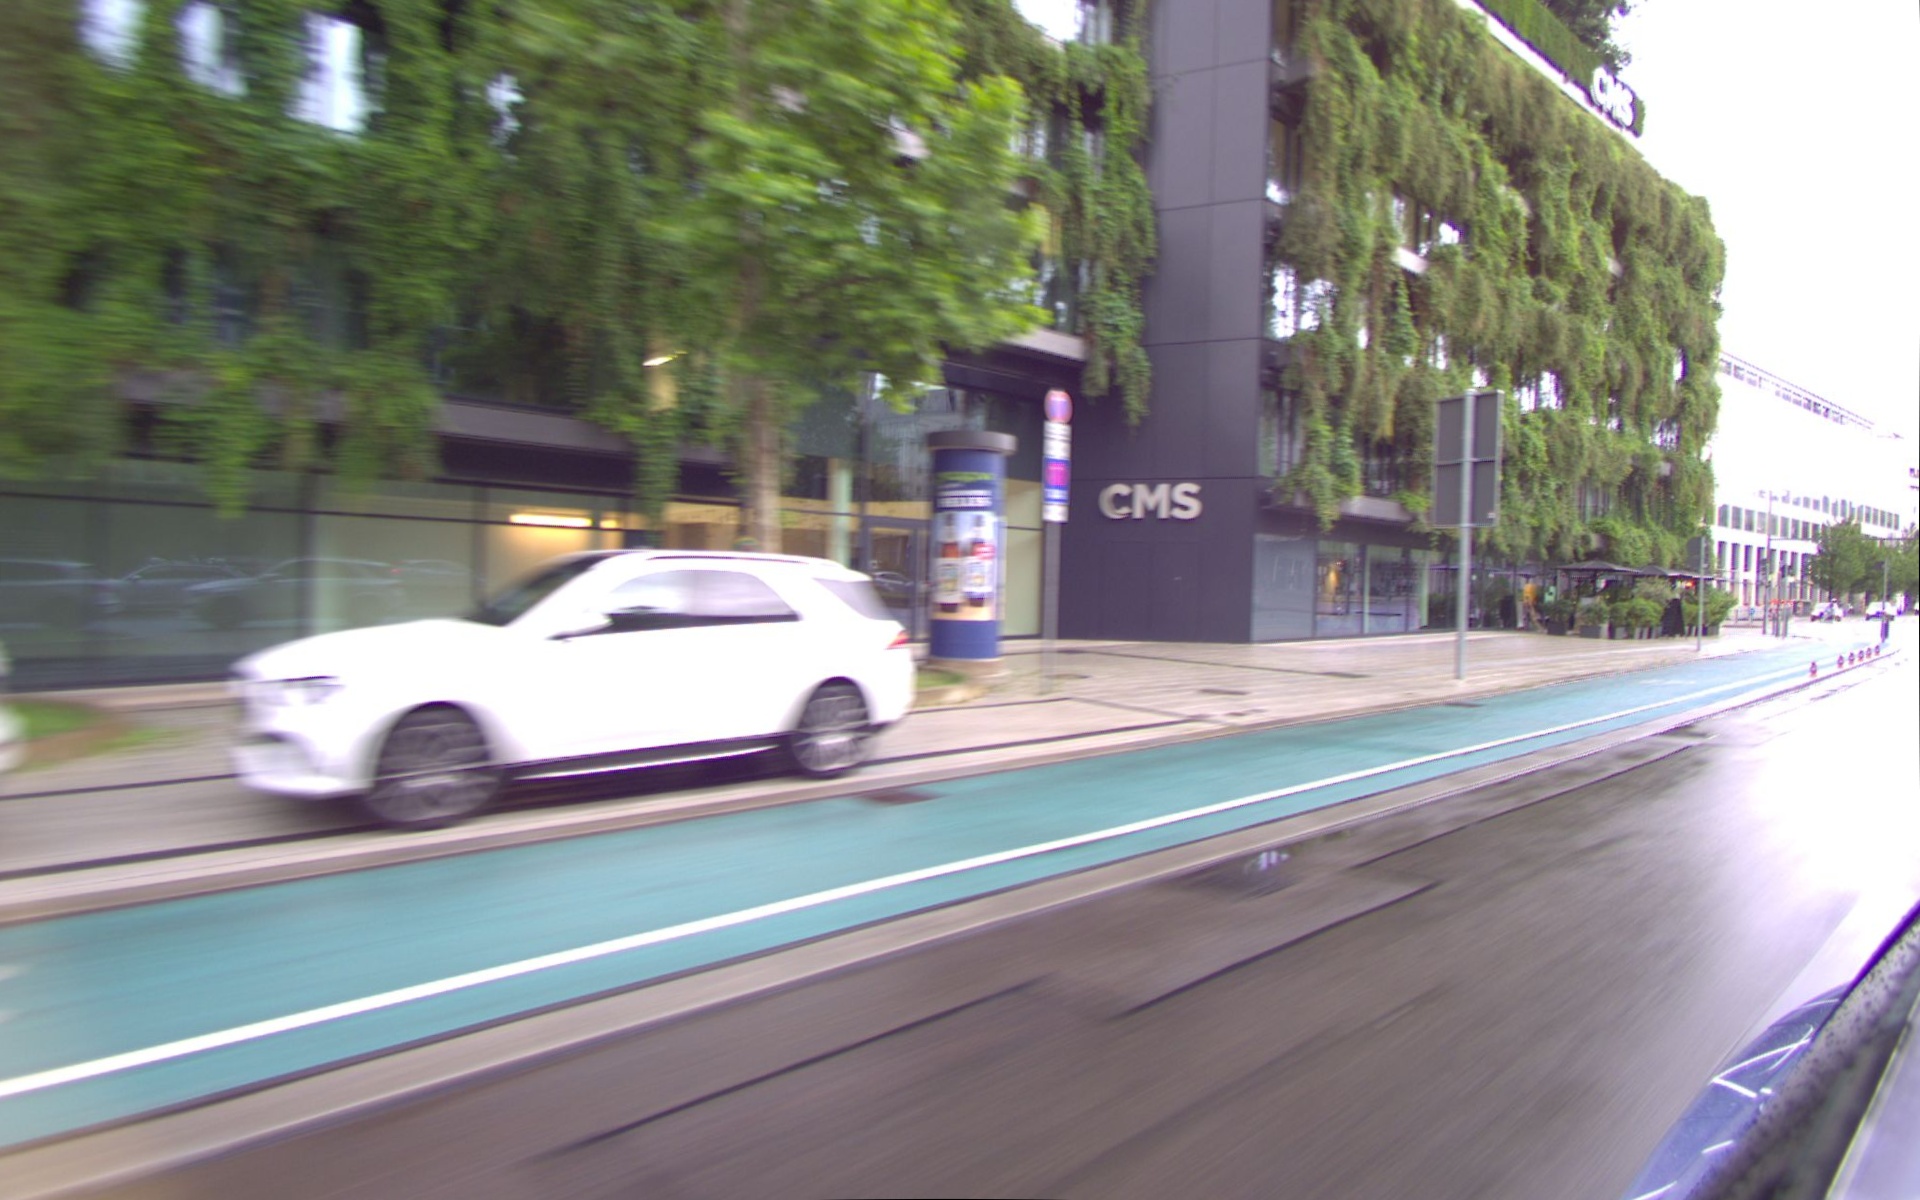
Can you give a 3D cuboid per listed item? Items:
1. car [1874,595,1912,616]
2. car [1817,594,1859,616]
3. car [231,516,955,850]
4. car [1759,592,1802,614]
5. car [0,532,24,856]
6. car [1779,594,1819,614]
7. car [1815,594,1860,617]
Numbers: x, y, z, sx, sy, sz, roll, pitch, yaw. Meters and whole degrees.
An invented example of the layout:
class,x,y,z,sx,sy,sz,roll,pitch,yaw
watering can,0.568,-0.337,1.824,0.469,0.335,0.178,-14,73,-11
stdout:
class,x,y,z,sx,sy,sz,roll,pitch,yaw
car,75.949,0.428,82.345,4.588,1.572,1.738,0,1,-41
car,66.947,0.362,77.154,4.588,1.572,1.738,0,0,-41
car,-2.578,0.440,7.931,5.001,1.861,1.848,0,2,-39
car,63.035,0.199,77.749,4.588,1.572,1.738,0,1,-41
car,-7.190,0.467,4.241,4.703,1.653,1.846,0,0,-41
car,68.725,0.318,82.898,4.588,1.572,1.738,0,1,-41
car,62.207,0.381,71.708,4.588,1.572,1.738,0,1,-41
